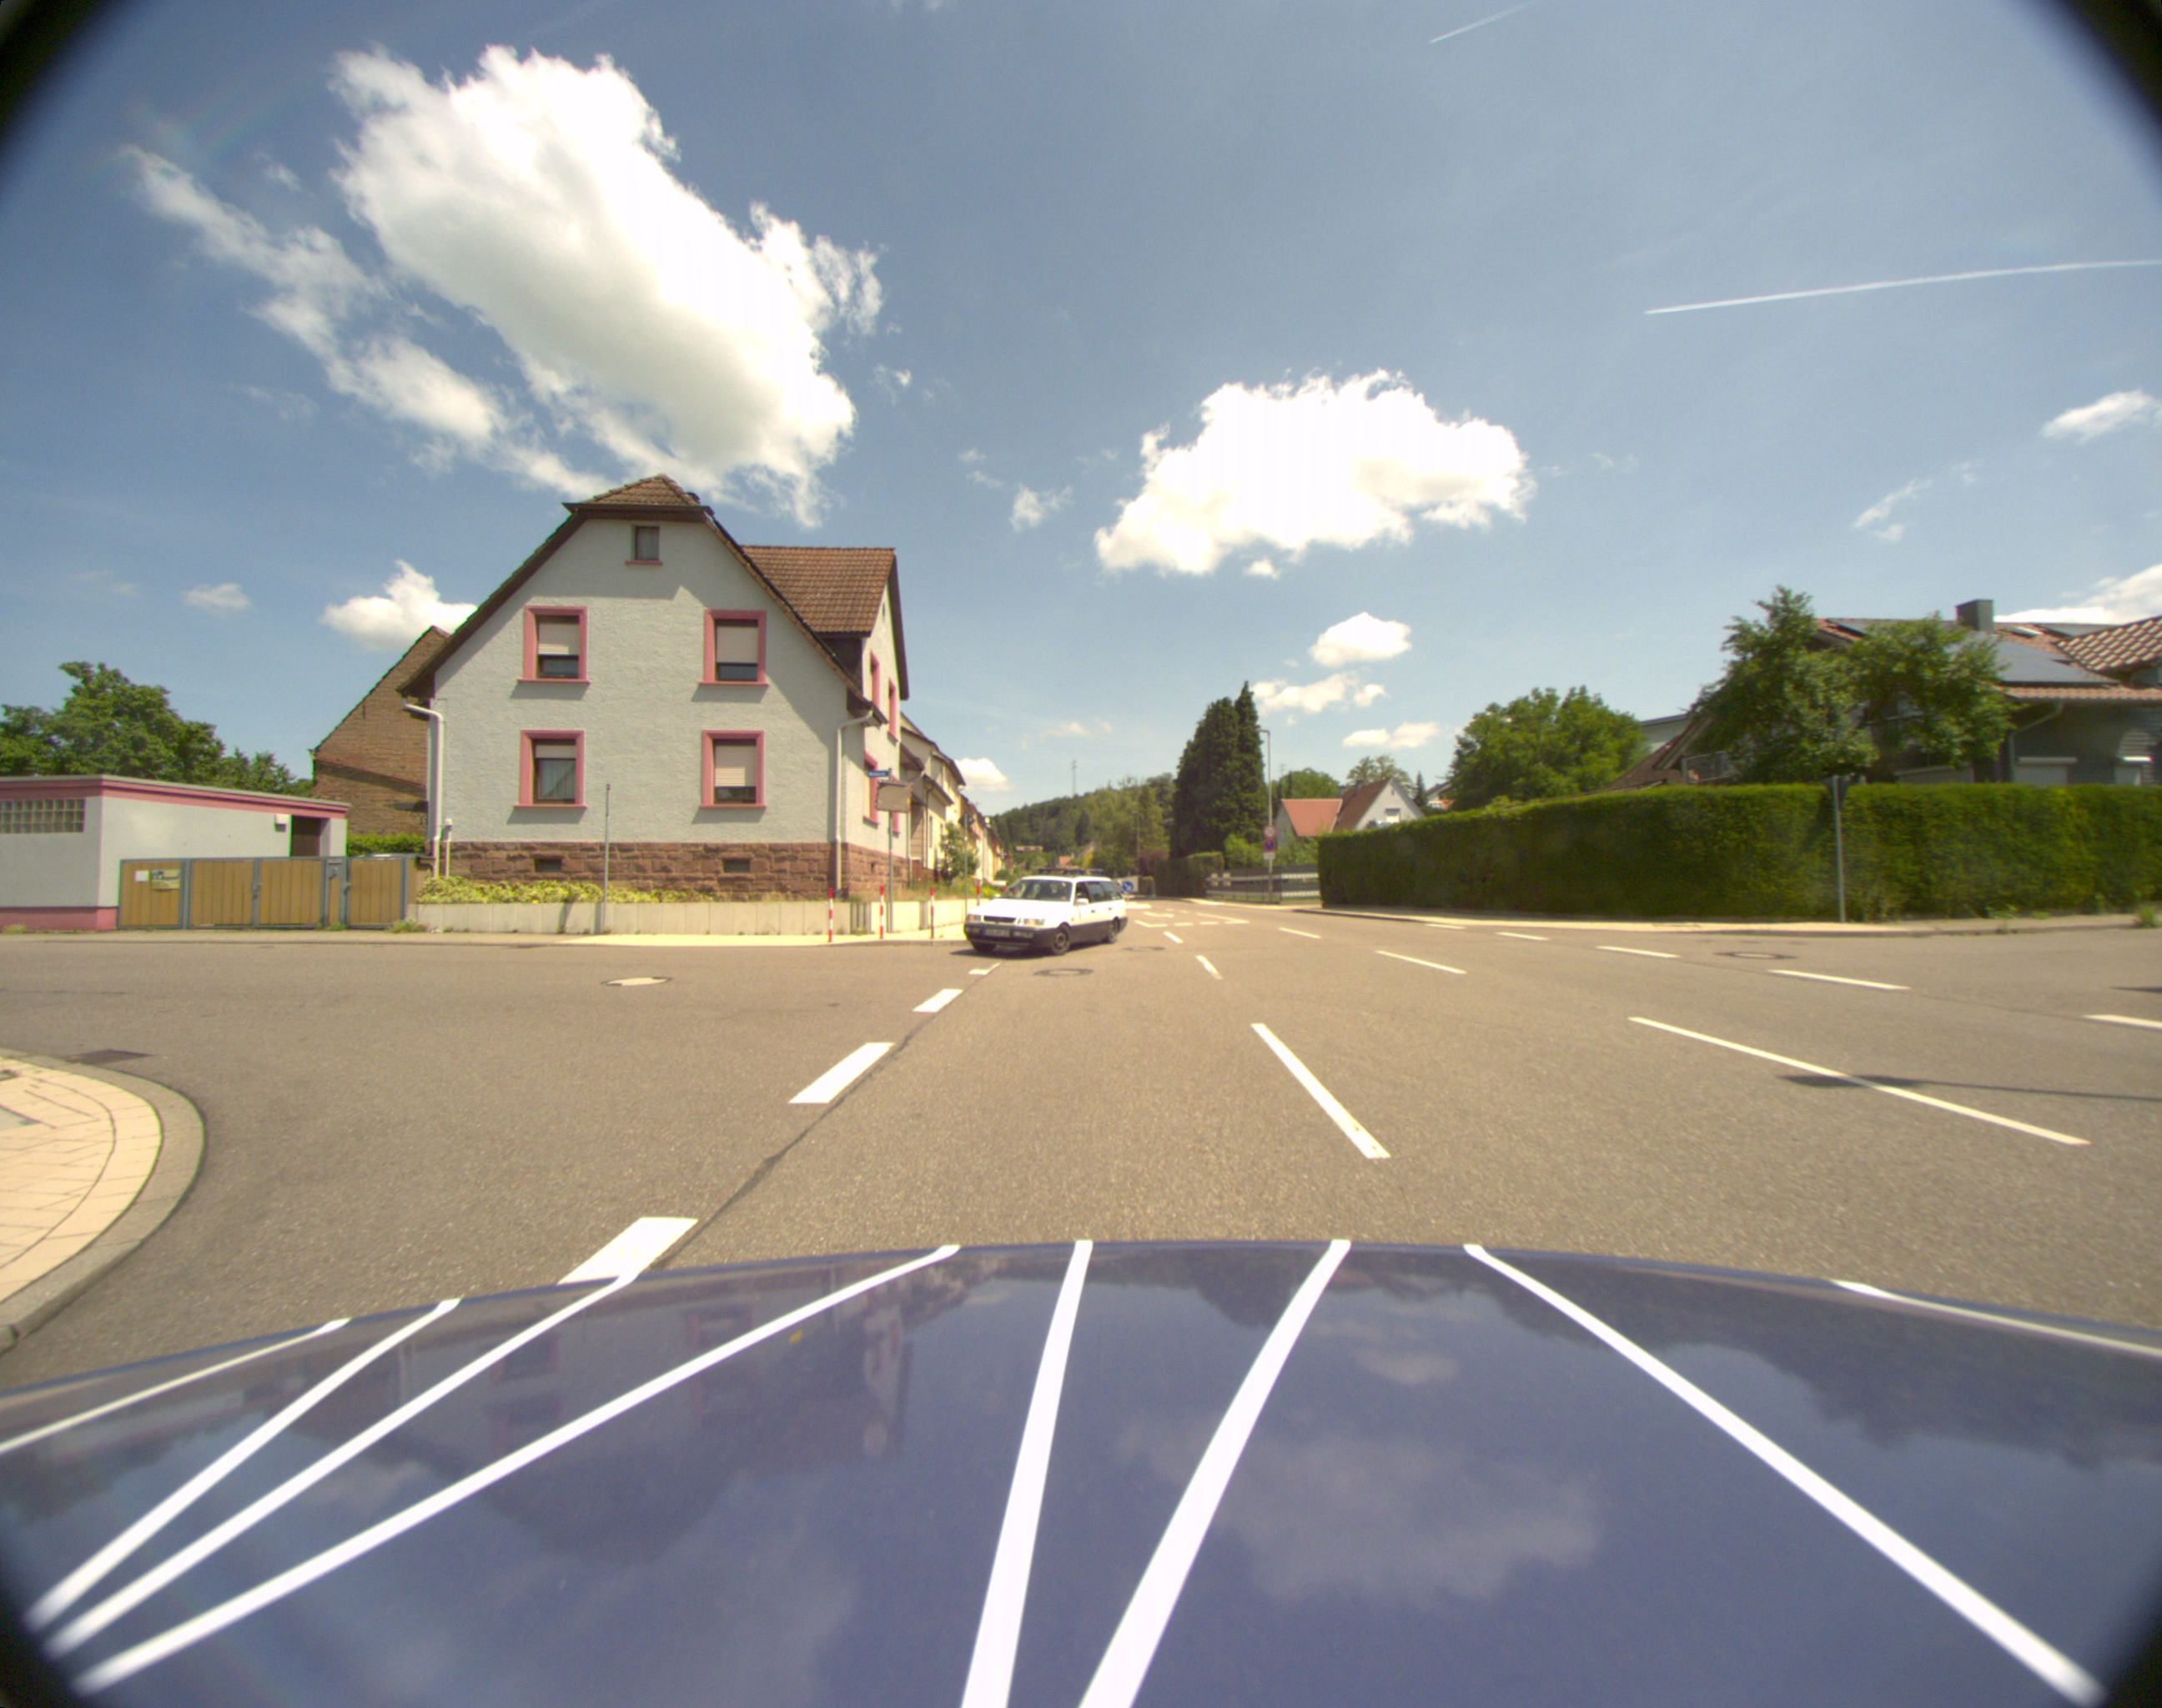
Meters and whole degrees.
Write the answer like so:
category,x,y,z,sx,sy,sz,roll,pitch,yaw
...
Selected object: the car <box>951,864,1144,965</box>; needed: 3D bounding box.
category,x,y,z,sx,sy,sz,roll,pitch,yaw
car,-0.434,1.096,14.876,1.678,1.633,4.842,-4,-3,24
